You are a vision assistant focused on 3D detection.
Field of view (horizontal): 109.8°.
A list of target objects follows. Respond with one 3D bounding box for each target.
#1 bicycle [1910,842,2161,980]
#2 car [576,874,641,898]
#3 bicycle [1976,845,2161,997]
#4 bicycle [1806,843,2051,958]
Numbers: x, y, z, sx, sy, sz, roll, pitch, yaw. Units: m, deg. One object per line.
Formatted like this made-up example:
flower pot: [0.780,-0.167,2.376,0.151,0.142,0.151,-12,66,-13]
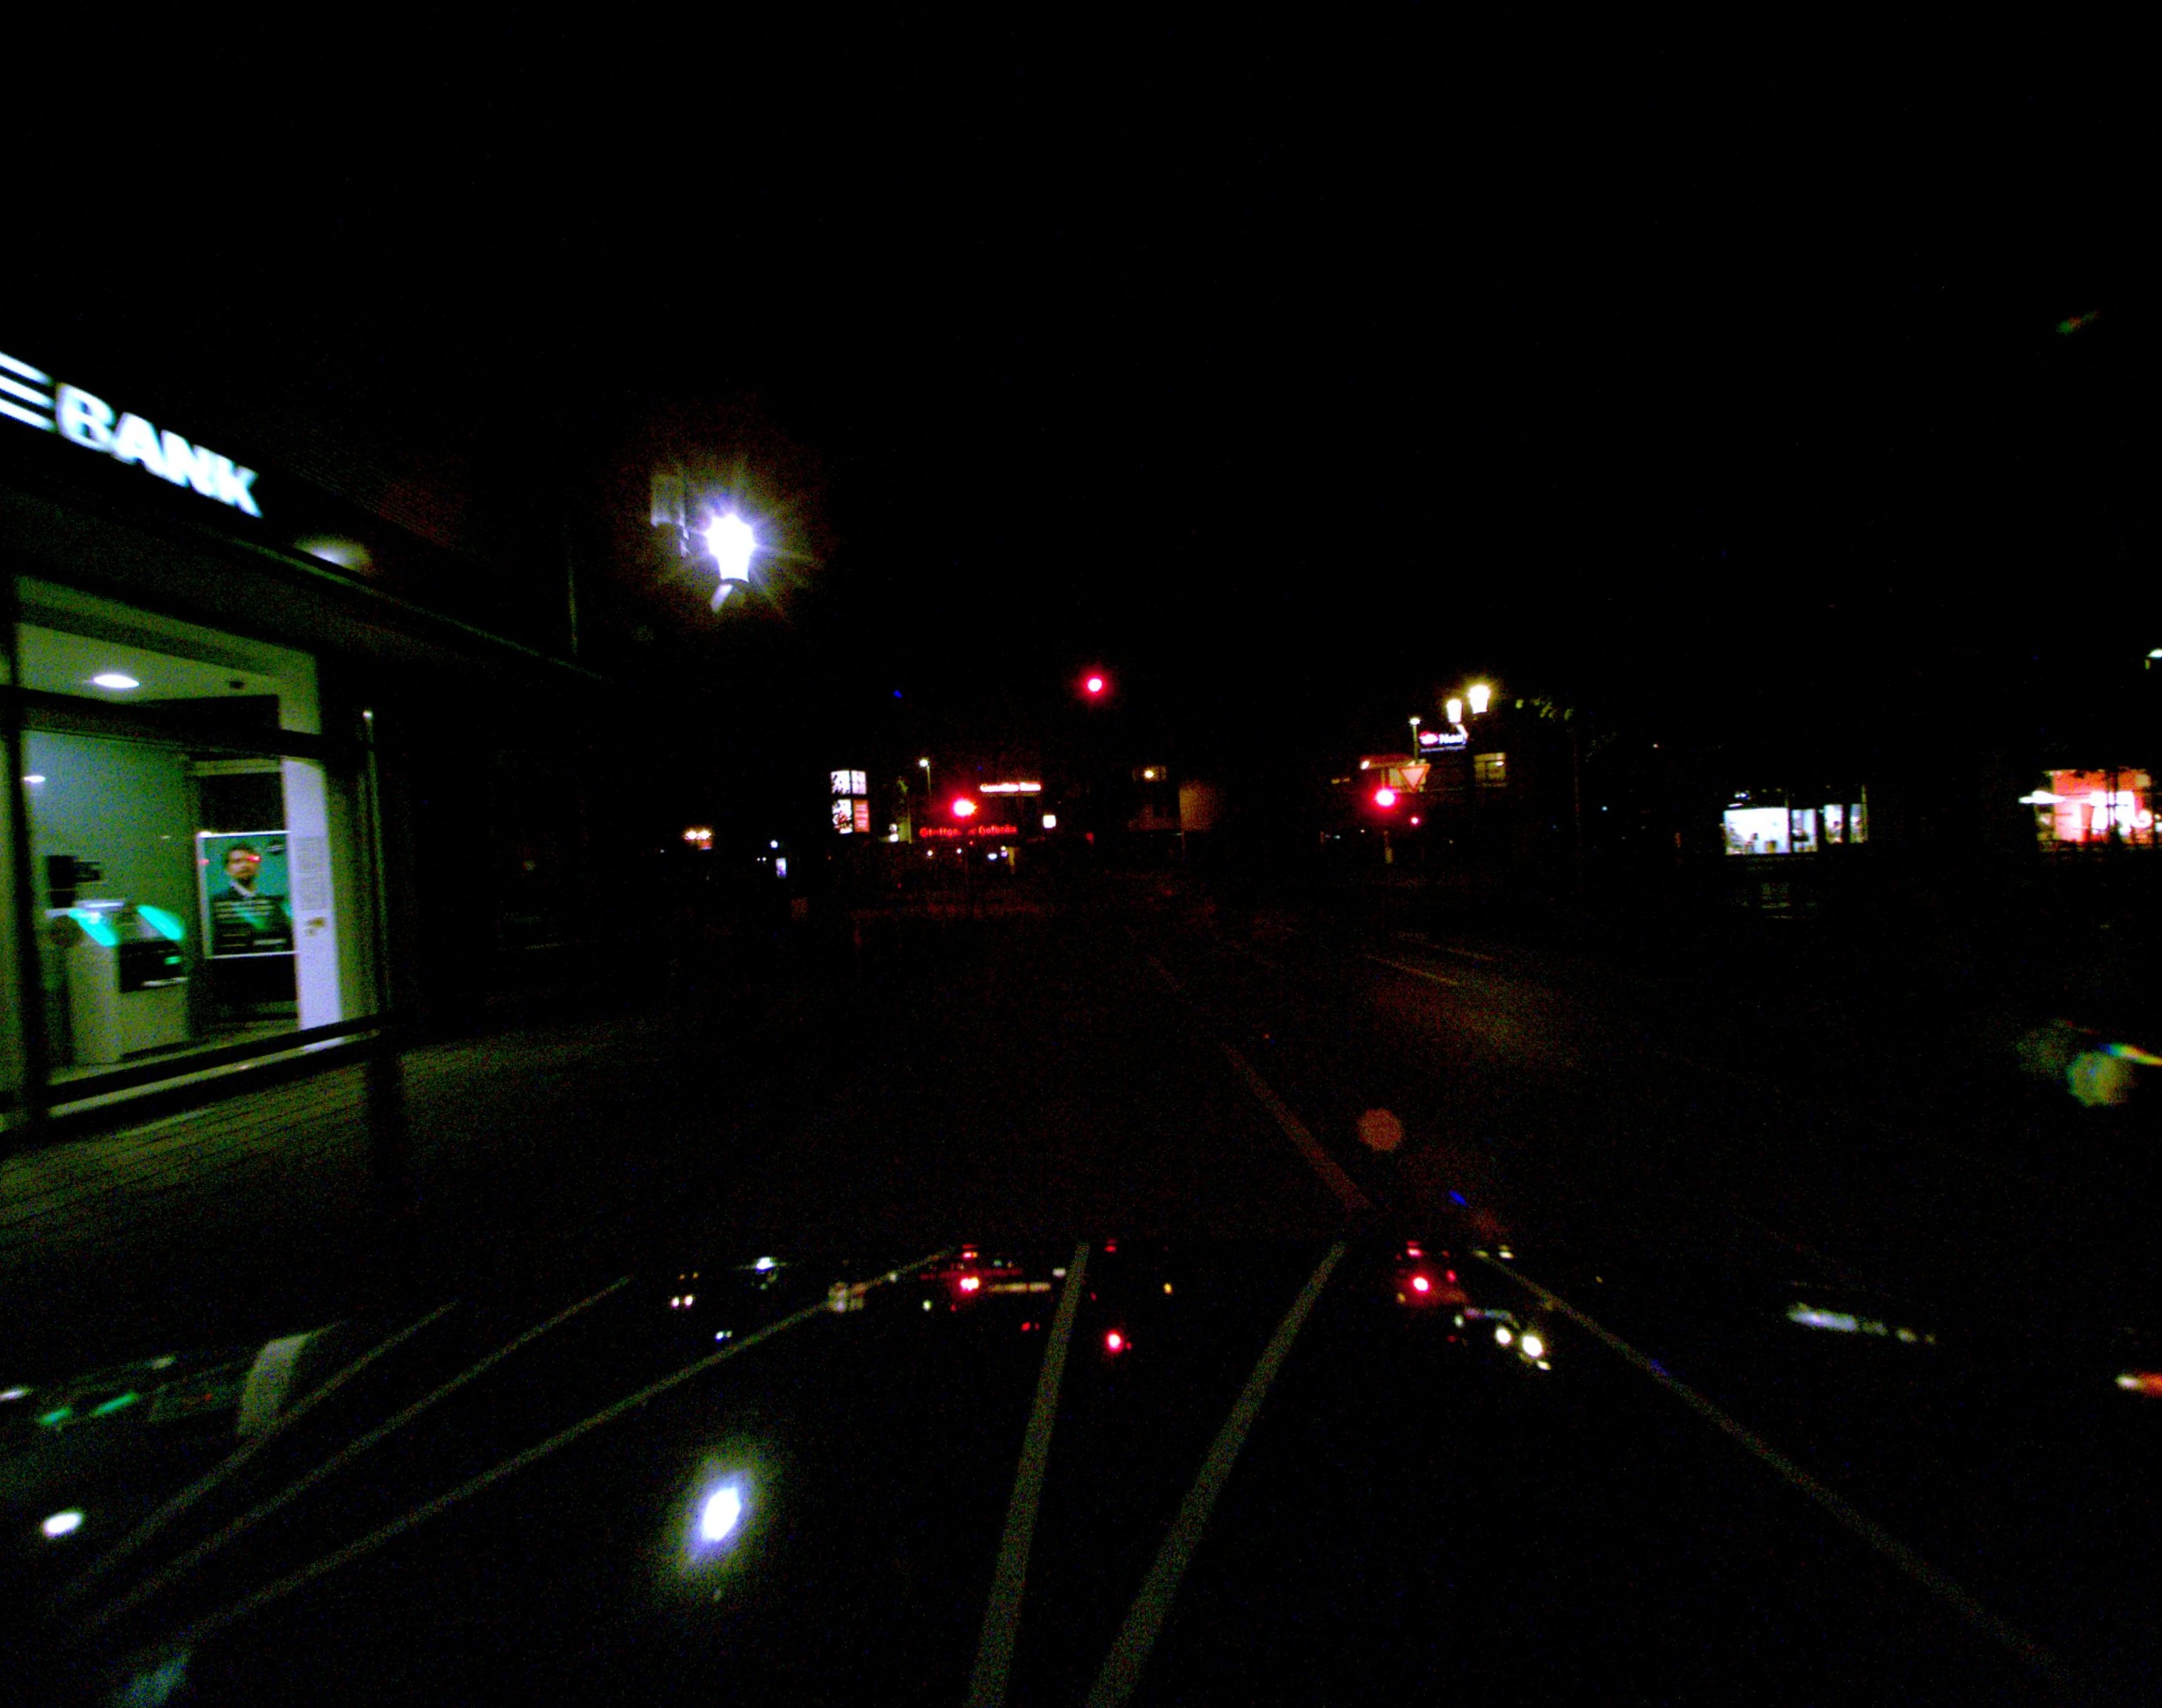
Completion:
bicycle: [9.491,0.529,7.442,1.738,1.151,0.787,-5,1,5]
car: [-34.909,2.353,56.153,3.856,1.643,1.877,-2,-1,14]
bicycle: [9.354,0.553,6.729,1.738,1.159,0.787,-5,0,5]
bicycle: [9.888,0.528,8.935,1.838,1.151,0.787,-5,1,5]
